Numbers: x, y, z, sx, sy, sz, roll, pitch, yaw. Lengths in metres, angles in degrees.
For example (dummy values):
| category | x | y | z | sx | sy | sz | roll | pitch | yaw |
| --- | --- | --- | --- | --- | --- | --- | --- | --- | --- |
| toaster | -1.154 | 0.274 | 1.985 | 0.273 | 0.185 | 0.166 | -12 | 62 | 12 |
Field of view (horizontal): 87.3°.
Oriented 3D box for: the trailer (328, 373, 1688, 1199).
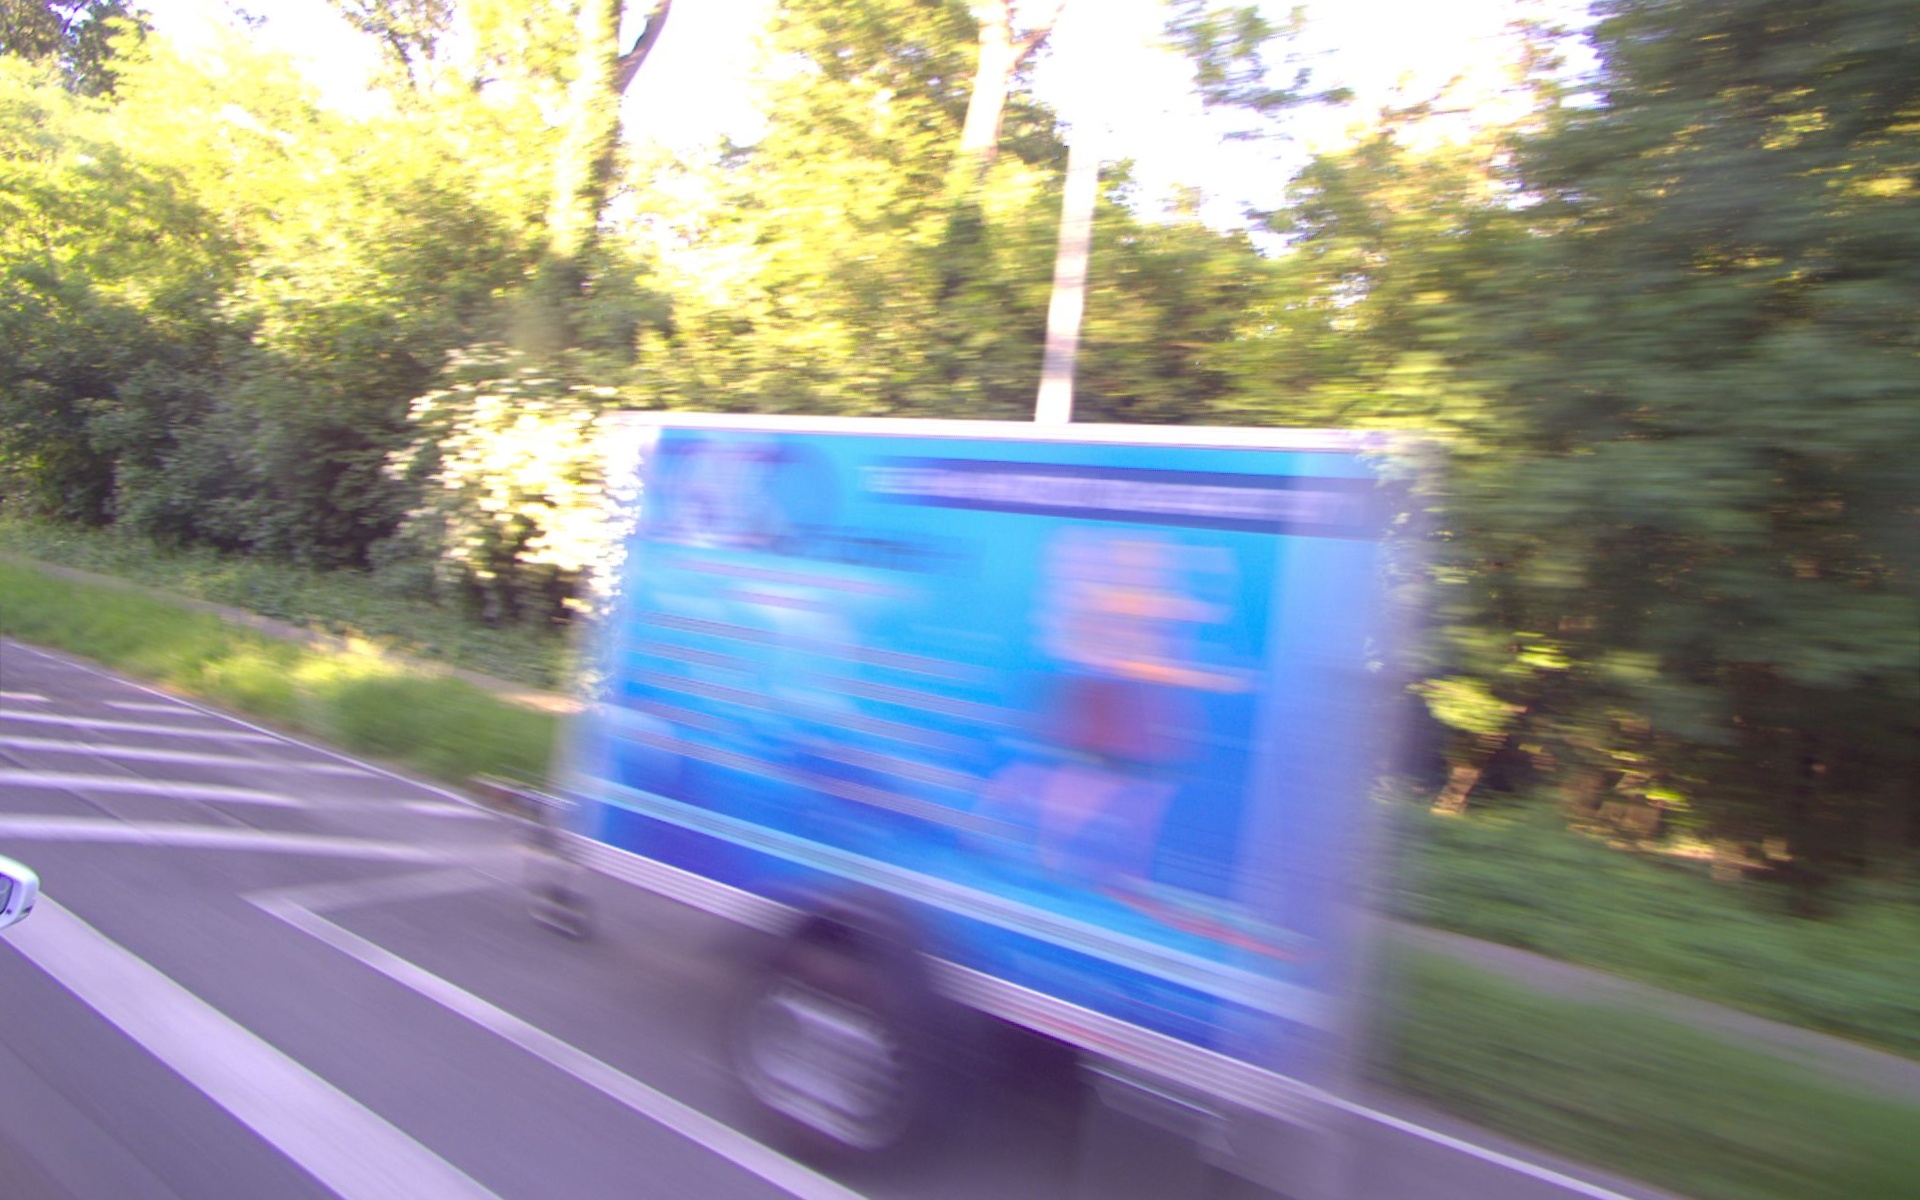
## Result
| category | x | y | z | sx | sy | sz | roll | pitch | yaw |
| --- | --- | --- | --- | --- | --- | --- | --- | --- | --- |
| trailer | -0.257 | 0.540 | 3.742 | 4.474 | 2.261 | 1.503 | 7 | -2 | 32 |
